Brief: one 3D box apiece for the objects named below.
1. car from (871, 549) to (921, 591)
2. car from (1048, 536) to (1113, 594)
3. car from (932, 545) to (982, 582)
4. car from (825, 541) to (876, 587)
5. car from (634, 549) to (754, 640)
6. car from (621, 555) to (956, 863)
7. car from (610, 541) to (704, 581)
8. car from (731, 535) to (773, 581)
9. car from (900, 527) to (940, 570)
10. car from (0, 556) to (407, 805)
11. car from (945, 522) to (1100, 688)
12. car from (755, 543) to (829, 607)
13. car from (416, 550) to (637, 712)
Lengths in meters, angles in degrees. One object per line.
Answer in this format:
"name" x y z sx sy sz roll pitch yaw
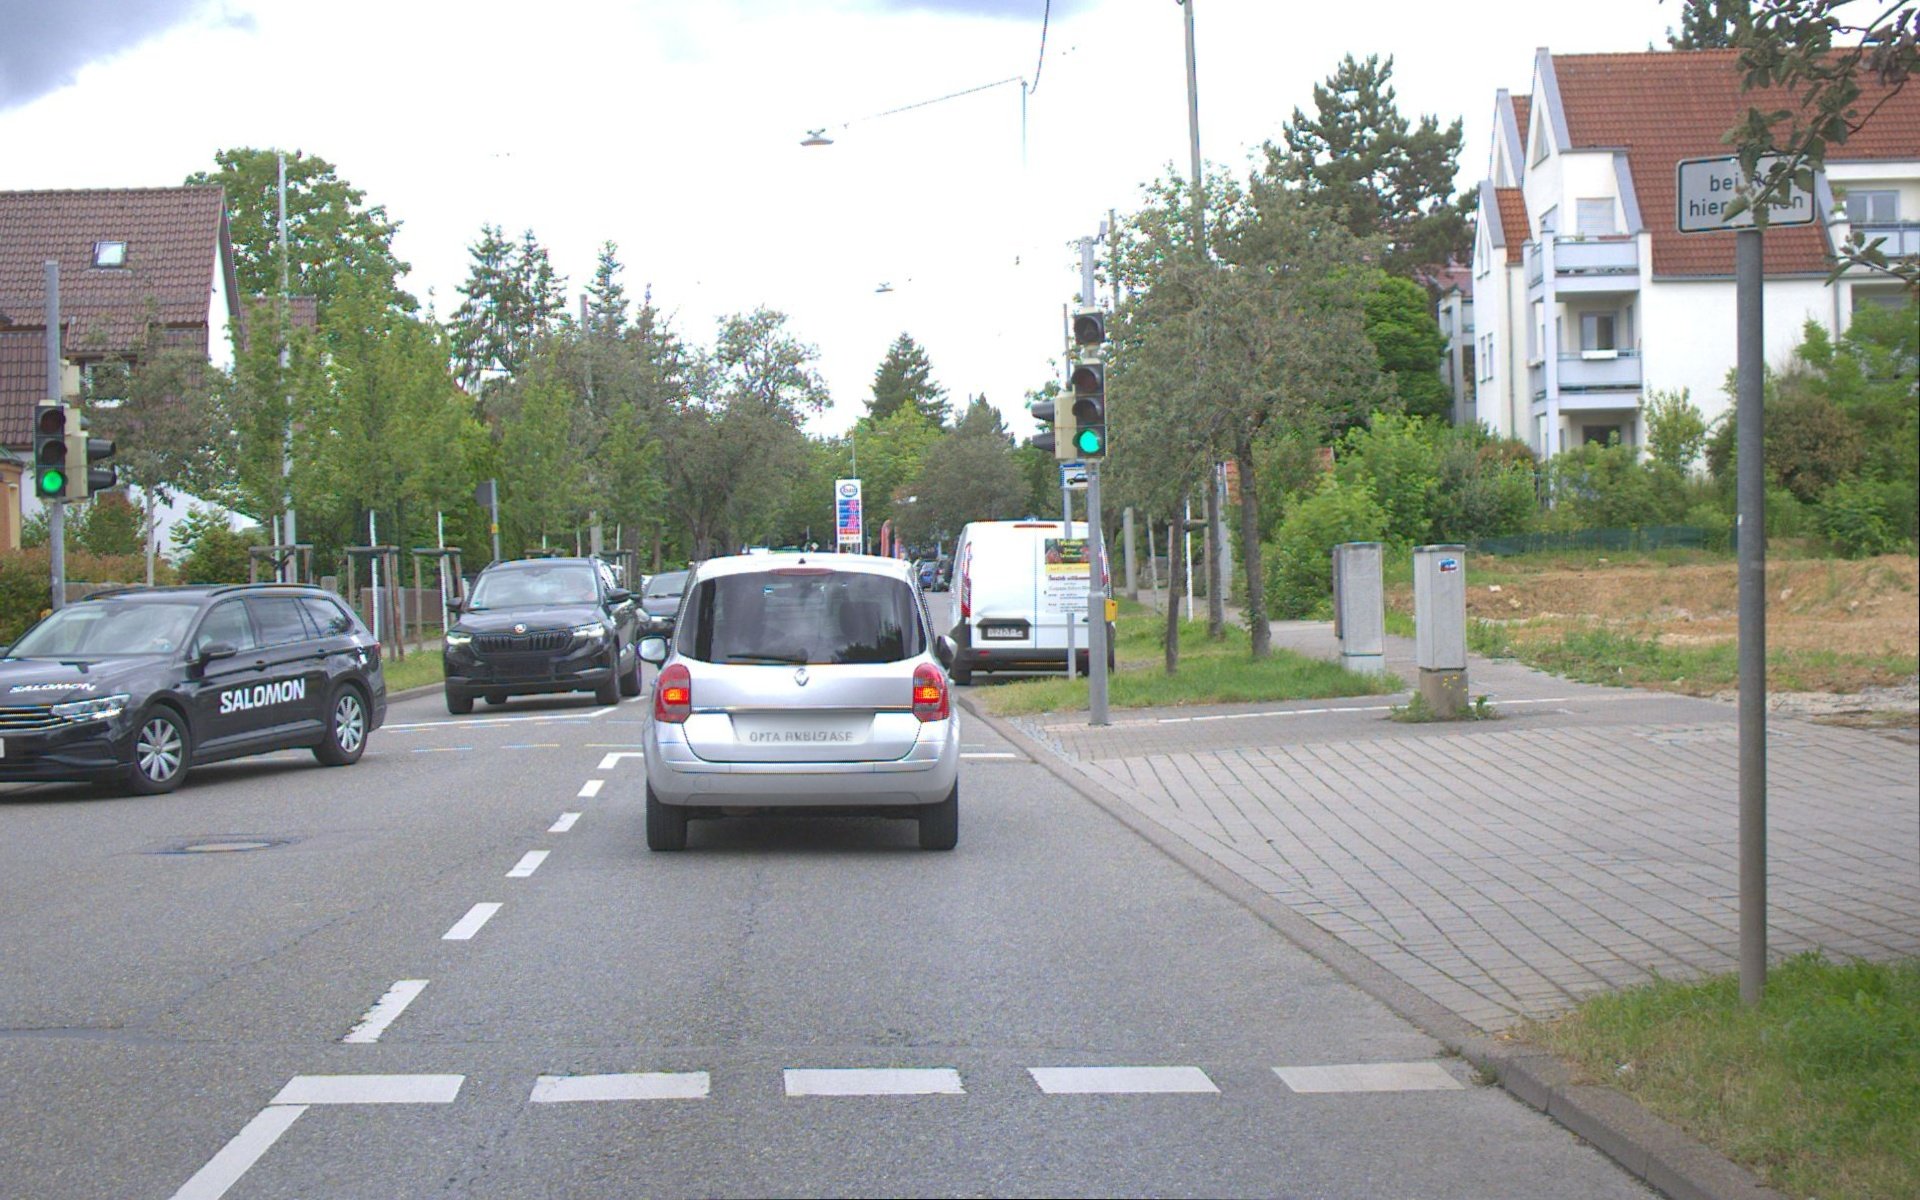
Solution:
"car" -2.733 -1.285 145.925 1.835 1.708 4.001 -3 1 -4
"car" 3.704 -1.087 106.146 1.830 1.706 4.549 -2 1 0
"car" -0.124 -1.489 141.157 1.626 1.447 3.876 -2 1 -6
"car" -4.366 -1.465 137.873 1.795 1.746 4.299 -2 1 1
"car" -4.560 -0.119 59.420 1.616 1.467 4.000 -2 1 2
"car" -0.874 0.534 19.204 1.679 1.554 3.512 0 1 0
"car" -13.871 -1.805 157.392 4.086 1.700 1.747 -2 1 0
"car" -12.518 -2.530 207.155 2.073 2.573 5.300 -4 1 -1
"car" -2.750 -3.503 233.421 2.281 2.901 5.280 0 1 -6
"car" -6.088 0.538 25.719 1.995 1.615 4.644 -2 1 16
"car" 0.730 0.020 42.949 1.775 1.937 4.789 0 1 -1
"car" -4.689 -0.717 96.471 1.814 1.687 4.466 -3 1 0
"car" -4.678 0.290 37.616 1.895 1.619 4.000 -2 1 -1
